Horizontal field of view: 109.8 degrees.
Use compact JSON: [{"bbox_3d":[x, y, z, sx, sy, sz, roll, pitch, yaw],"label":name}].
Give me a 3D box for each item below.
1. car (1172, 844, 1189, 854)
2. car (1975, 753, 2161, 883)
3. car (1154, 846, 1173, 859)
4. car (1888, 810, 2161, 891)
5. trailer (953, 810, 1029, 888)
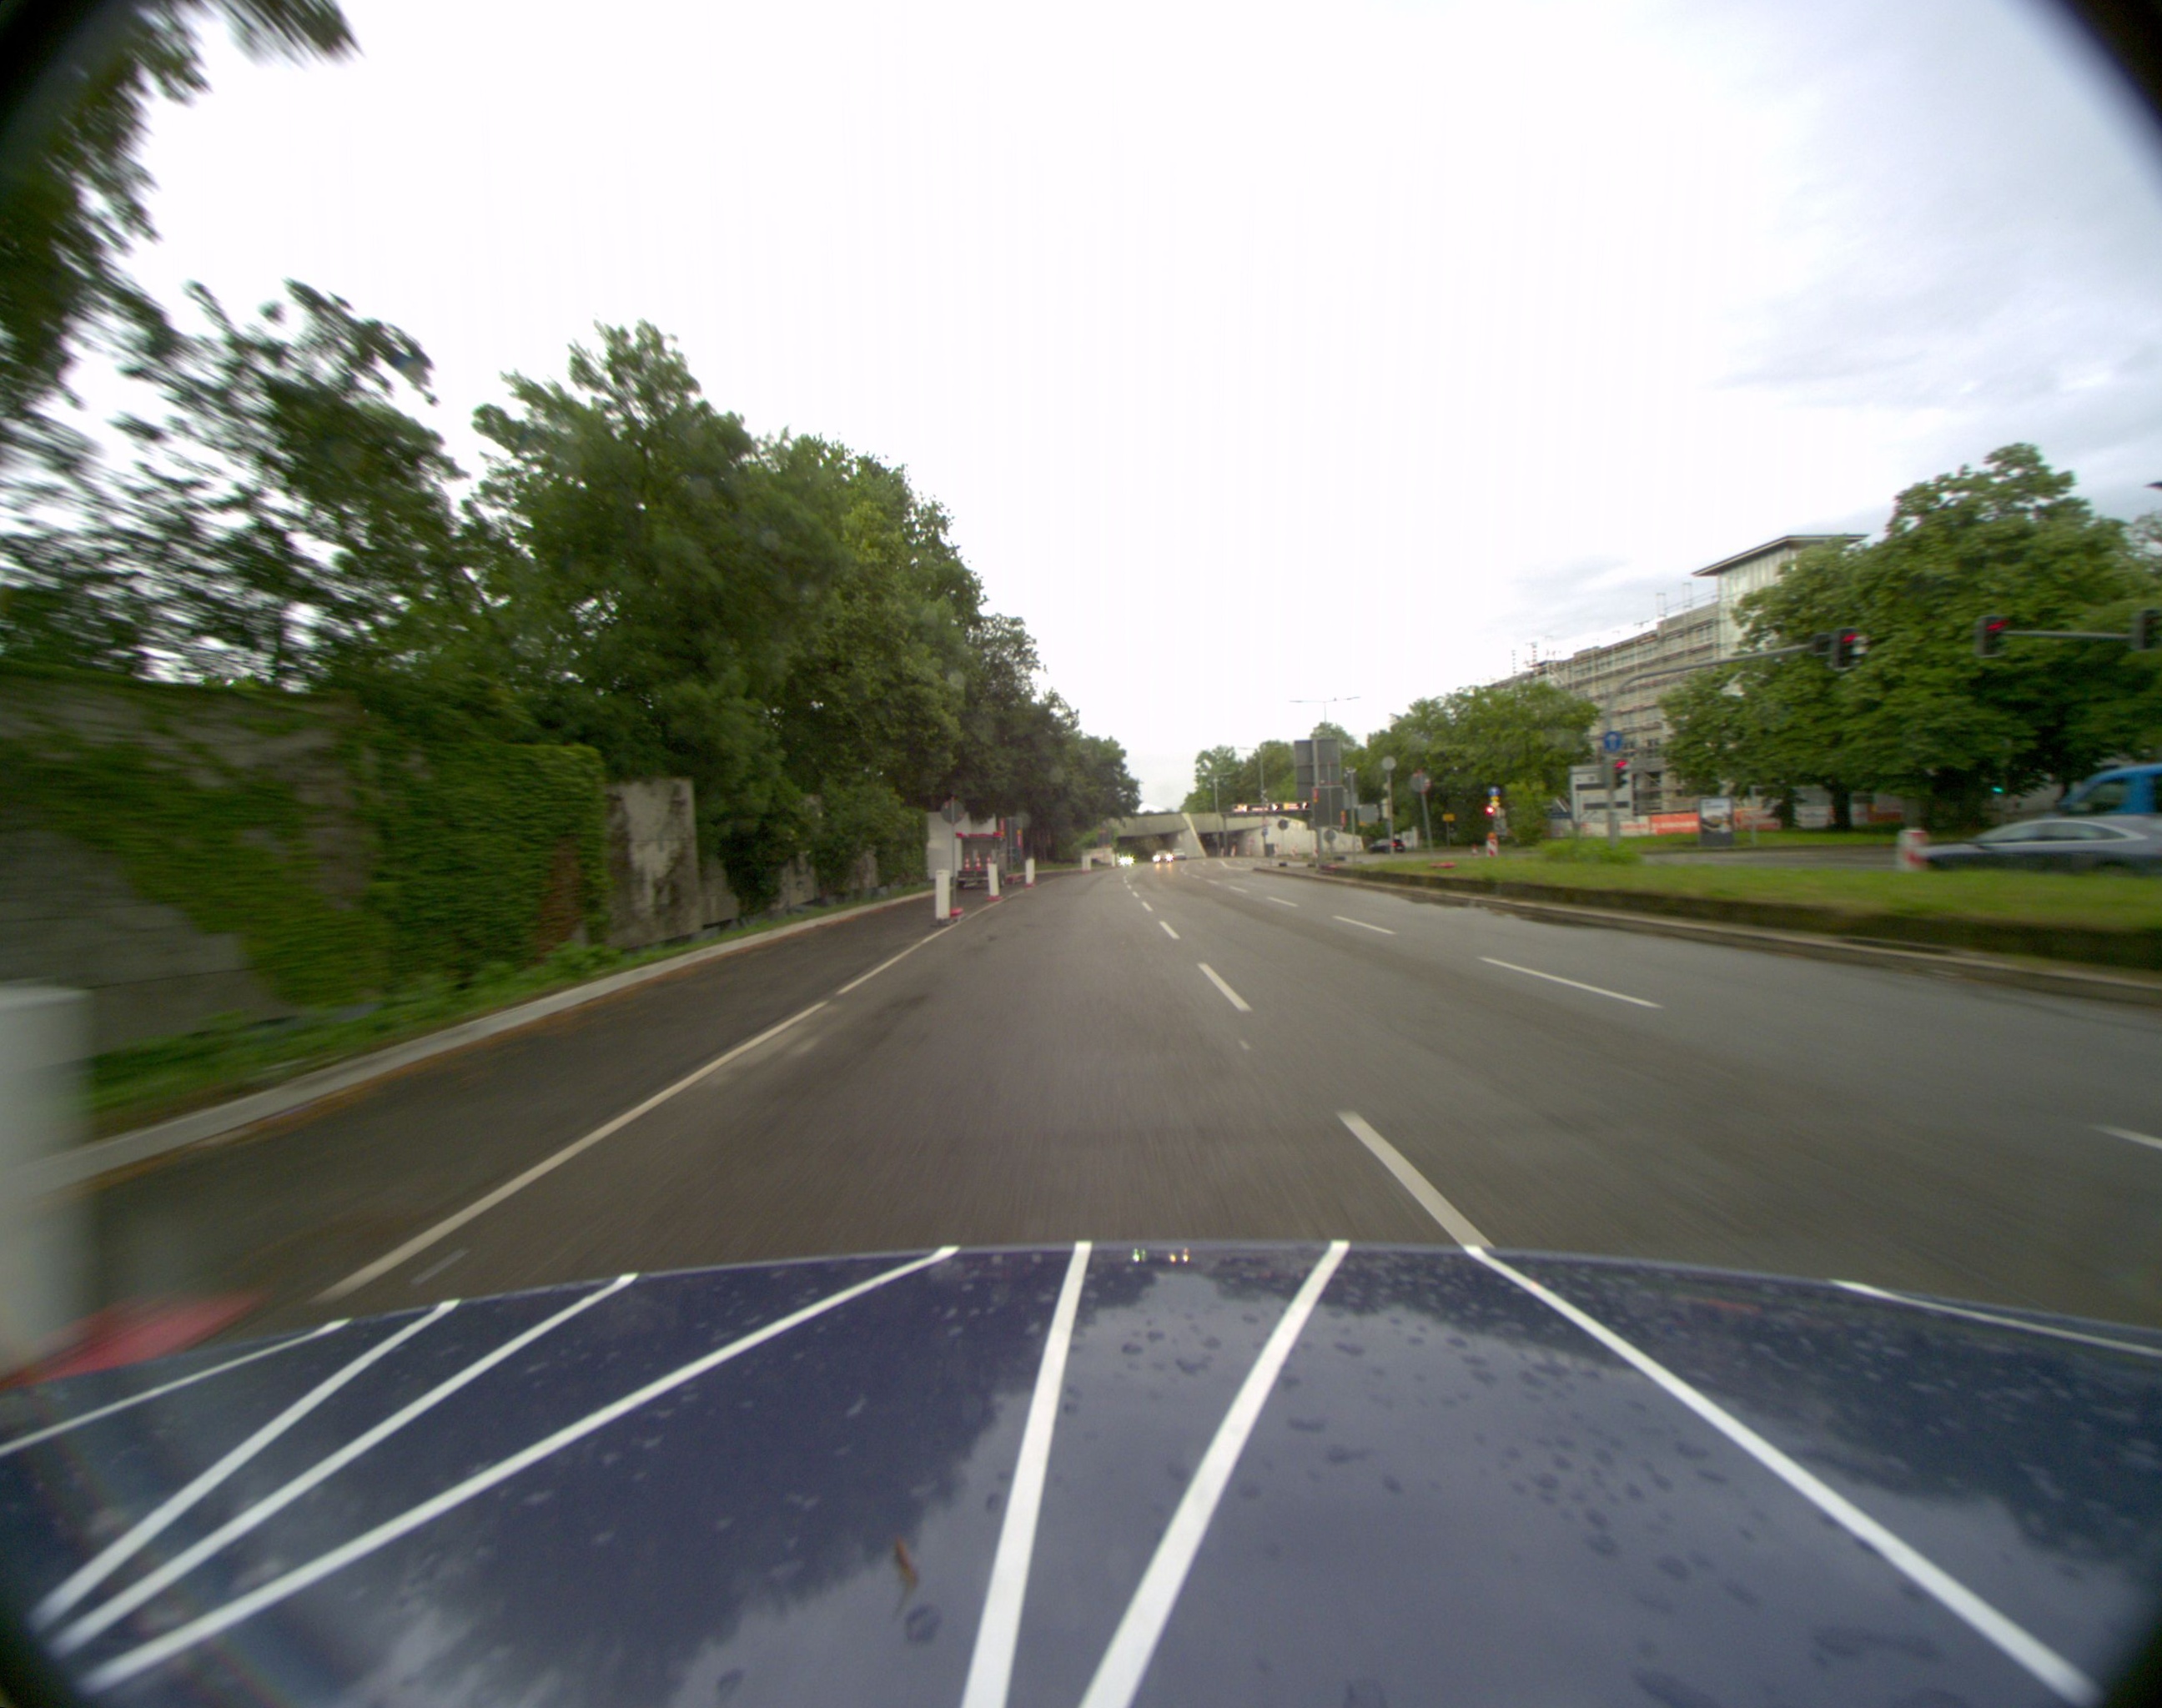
[{"bbox_3d":[13.577,-0.674,103.728,1.698,1.300,3.824,-2,1,-1],"label":"car"},{"bbox_3d":[20.815,-0.713,13.678,2.200,2.376,6.245,-3,0,3],"label":"car"},{"bbox_3d":[9.631,-0.157,88.866,1.698,1.393,3.823,-2,1,-2],"label":"car"},{"bbox_3d":[17.295,-0.112,13.278,1.552,1.193,4.646,-3,1,3],"label":"car"},{"bbox_3d":[-4.387,-0.293,38.255,2.312,3.569,5.962,-1,1,8],"label":"trailer"}]
